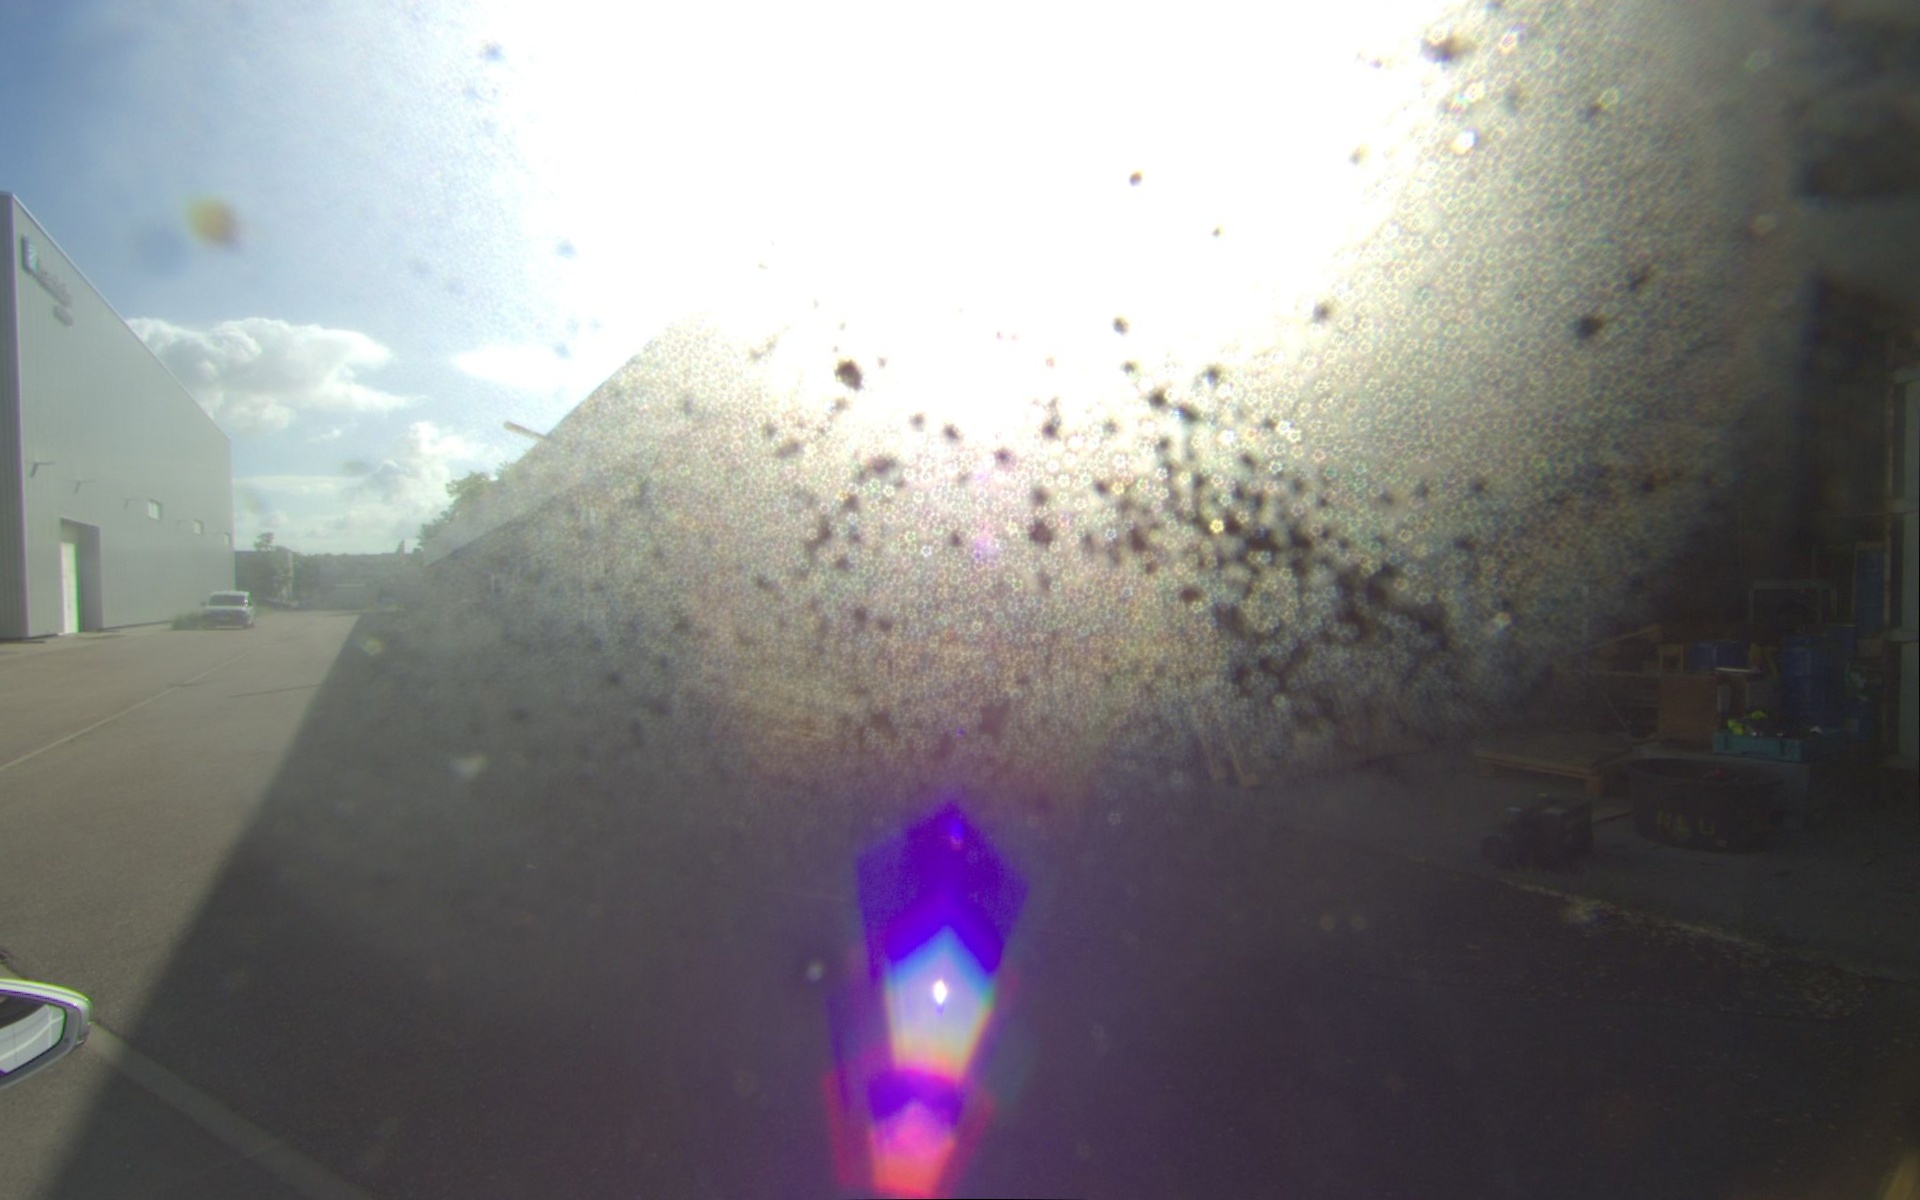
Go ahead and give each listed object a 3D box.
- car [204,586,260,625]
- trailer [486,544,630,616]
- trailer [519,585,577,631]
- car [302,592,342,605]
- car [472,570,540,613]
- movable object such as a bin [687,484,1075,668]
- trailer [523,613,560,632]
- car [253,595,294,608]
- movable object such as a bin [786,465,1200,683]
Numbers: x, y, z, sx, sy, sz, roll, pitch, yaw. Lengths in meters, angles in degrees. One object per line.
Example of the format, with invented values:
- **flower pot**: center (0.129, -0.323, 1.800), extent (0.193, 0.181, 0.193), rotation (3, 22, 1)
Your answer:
- **car**: center (-35.347, 0.236, 48.721), extent (1.888, 1.818, 3.975), rotation (-1, 1, -32)
- **trailer**: center (-20.437, -1.056, 50.968), extent (6.319, 3.416, 2.808), rotation (-2, 2, -32)
- **trailer**: center (-14.773, 0.286, 35.908), extent (1.531, 1.539, 1.899), rotation (1, 2, -35)
- **car**: center (-75.559, -0.148, 118.548), extent (3.839, 1.481, 1.615), rotation (-1, 1, -29)
- **car**: center (-27.143, -0.532, 59.869), extent (3.466, 2.475, 1.989), rotation (-2, 2, -31)
- **movable object such as a bin**: center (-1.363, -0.495, 19.017), extent (6.859, 2.945, 2.670), rotation (-2, 2, -31)
- **trailer**: center (-13.715, 0.750, 32.811), extent (0.961, 0.575, 0.727), rotation (1, 2, -36)
- **car**: center (-80.302, 0.123, 117.161), extent (3.843, 1.481, 1.613), rotation (-1, 1, -32)
- **movable object such as a bin**: center (0.654, -0.452, 16.296), extent (6.284, 2.945, 2.670), rotation (-2, 2, -31)
